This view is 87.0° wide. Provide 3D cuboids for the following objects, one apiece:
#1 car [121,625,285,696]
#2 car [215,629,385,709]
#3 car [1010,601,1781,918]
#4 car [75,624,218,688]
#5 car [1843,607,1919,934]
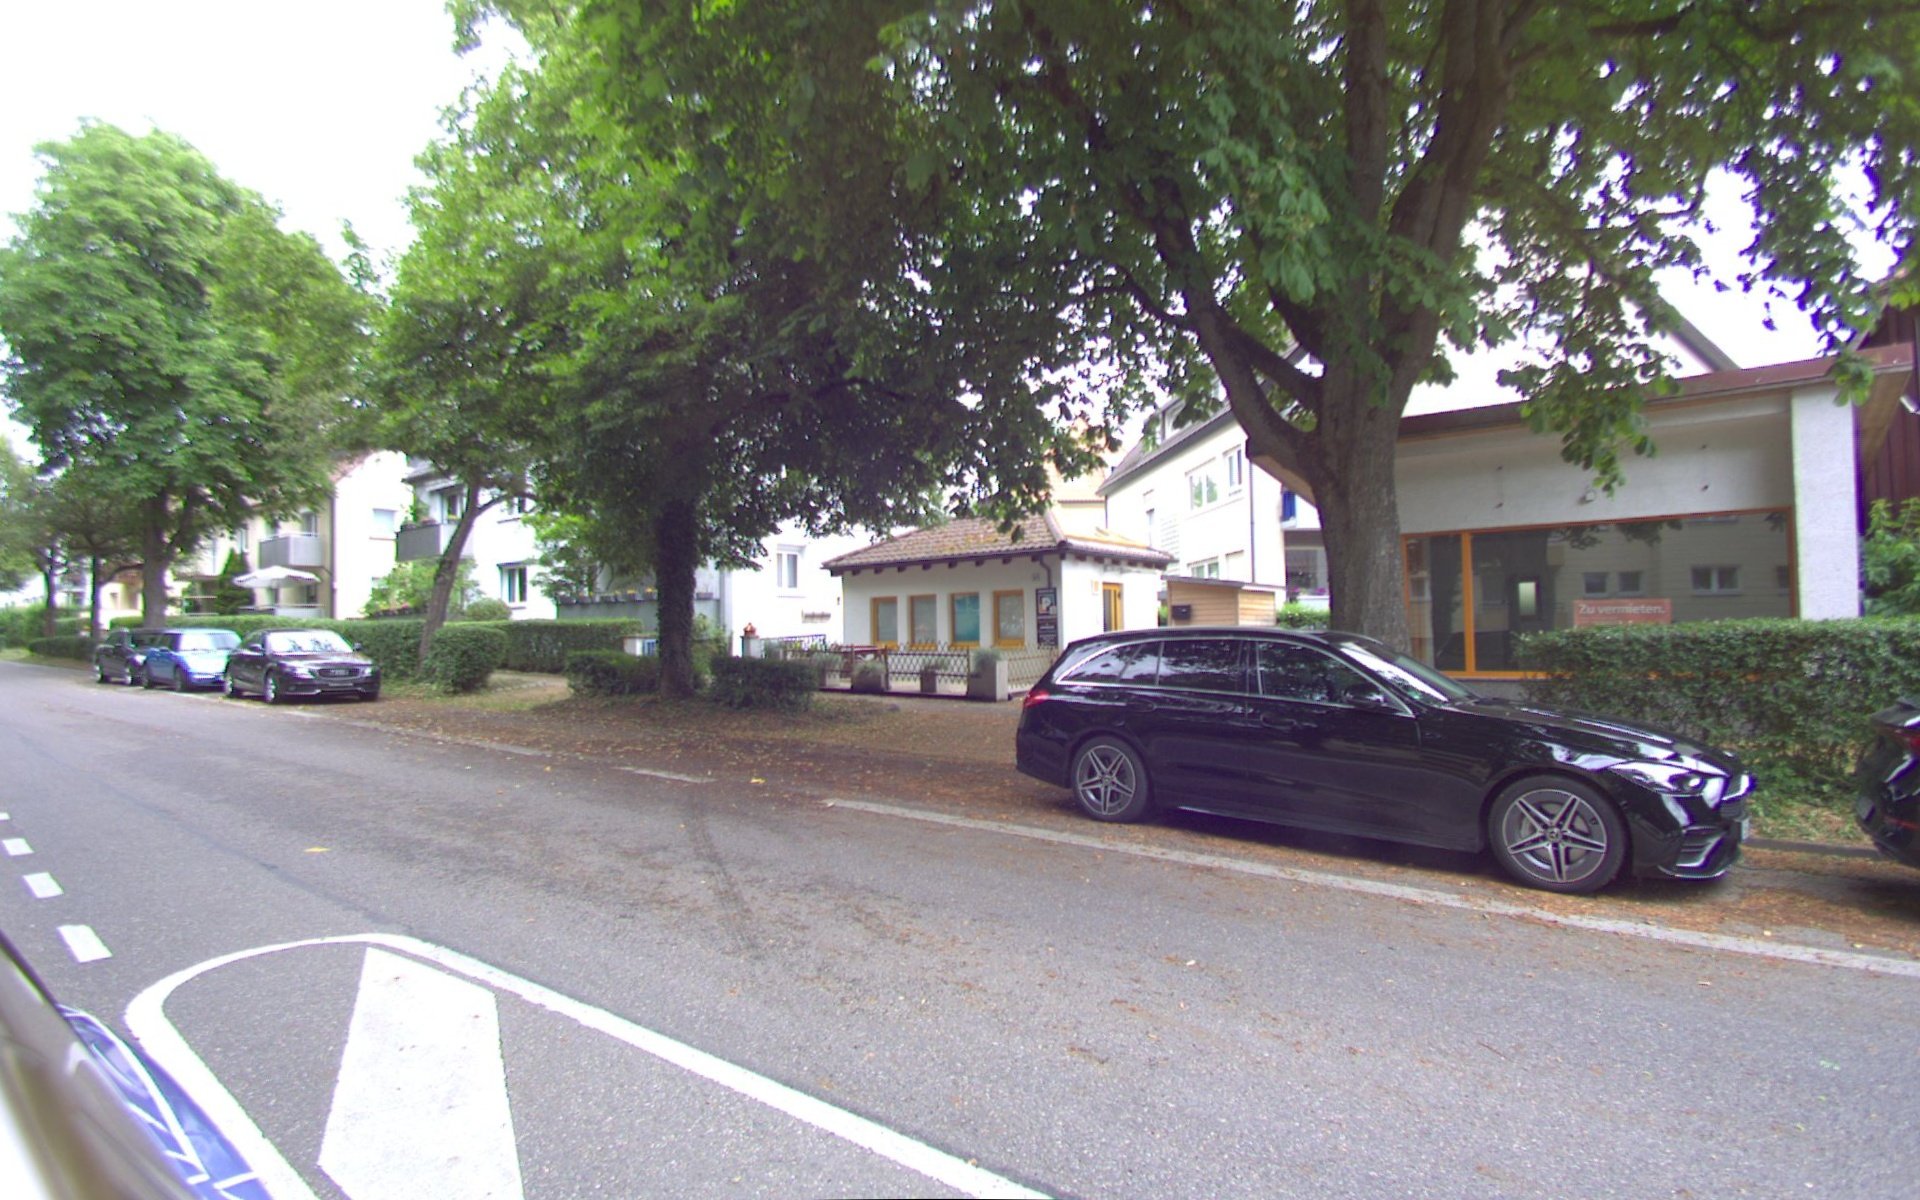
[{"bbox_3d":[-17.775,1.361,23.698,4.558,1.512,1.866,-2,-3,37],"label":"car"},{"bbox_3d":[-13.065,1.295,19.951,4.169,1.414,1.713,-2,-3,41],"label":"car"},{"bbox_3d":[2.768,0.848,7.127,4.612,1.511,1.973,-2,-3,41],"label":"car"},{"bbox_3d":[-21.477,1.444,26.674,4.558,1.545,1.866,-2,-3,37],"label":"car"},{"bbox_3d":[6.609,0.759,4.009,4.536,1.497,1.674,-2,-3,38],"label":"car"}]
